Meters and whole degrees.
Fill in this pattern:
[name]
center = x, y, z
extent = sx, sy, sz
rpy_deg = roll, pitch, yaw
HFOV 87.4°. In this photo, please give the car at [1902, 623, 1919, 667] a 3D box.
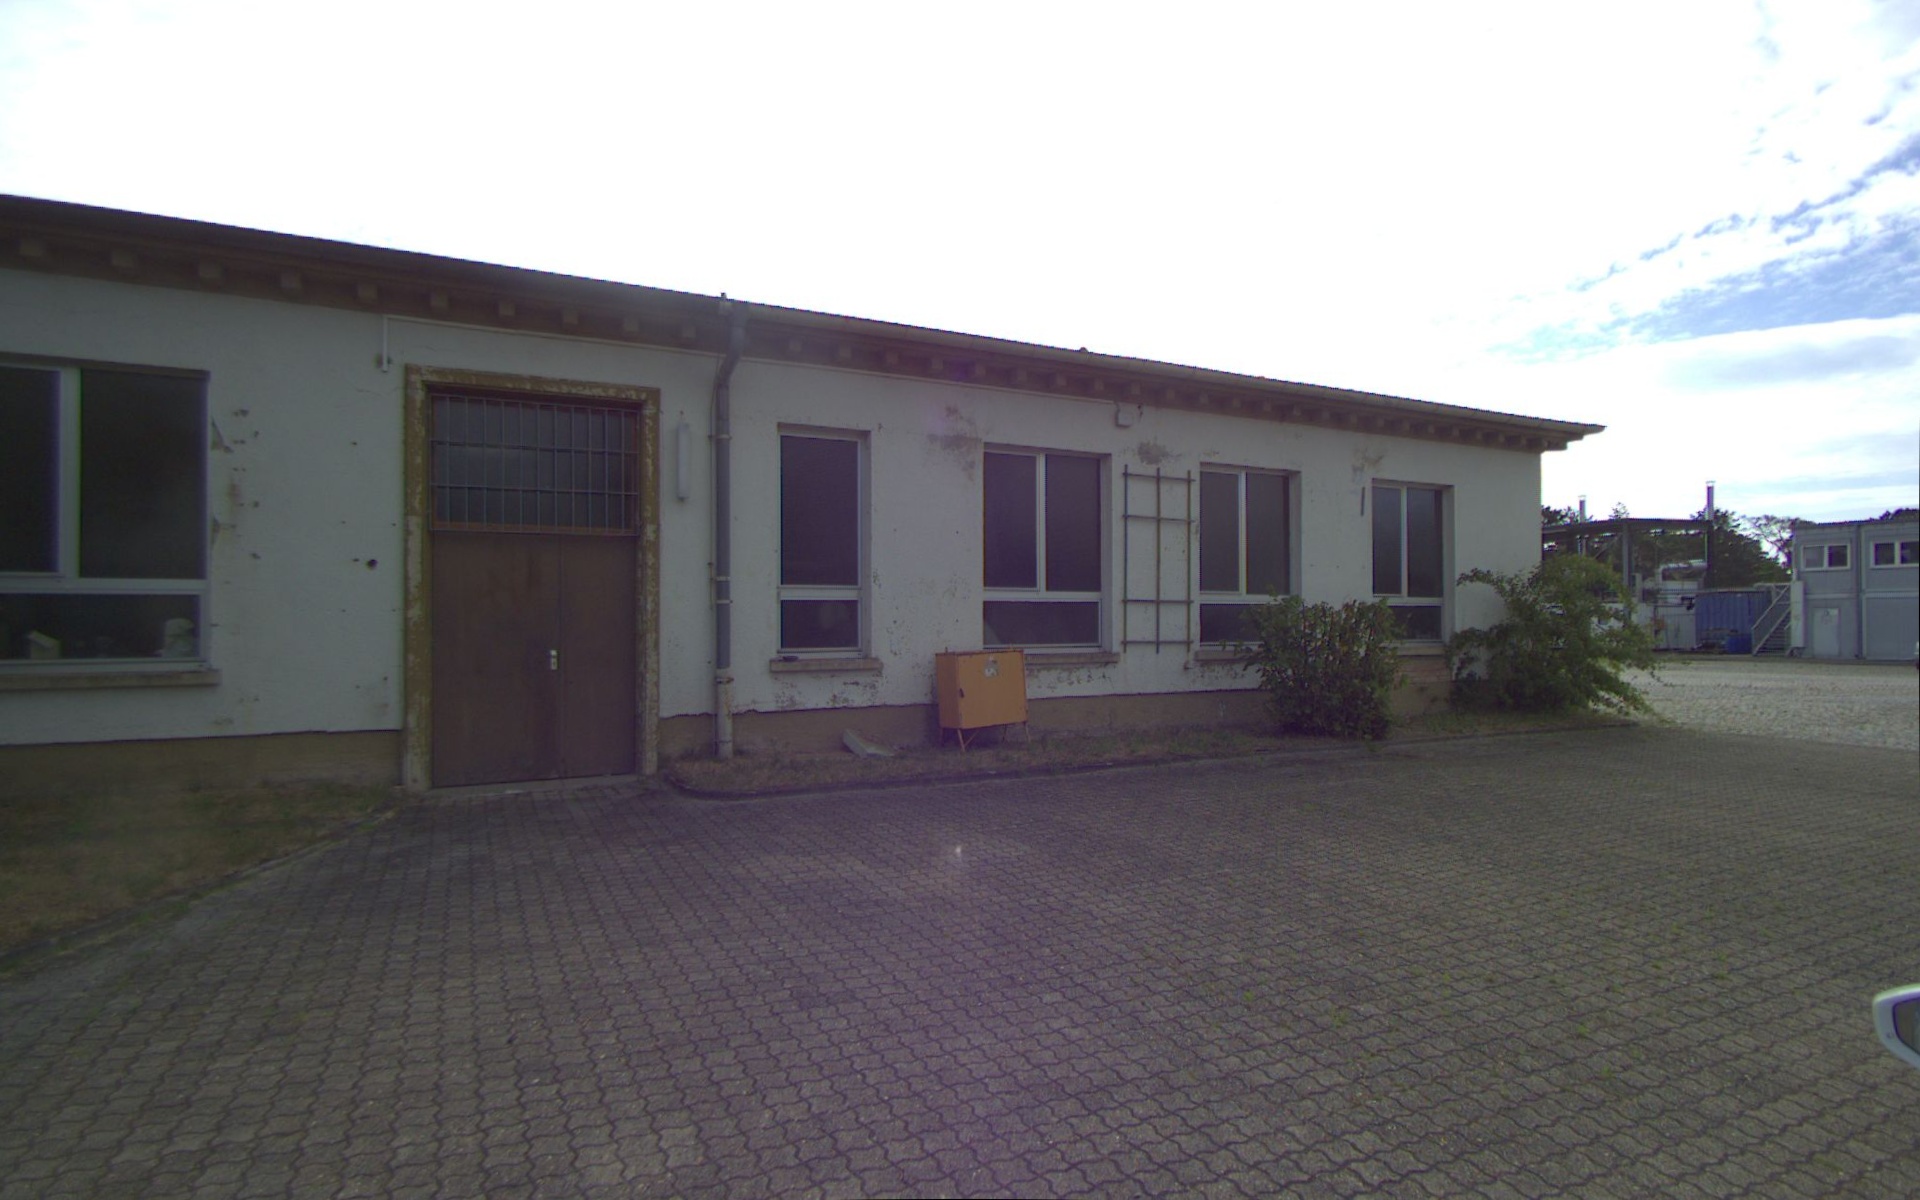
[car]
center = 35.598, 1.557, 35.747
extent = 3.997, 1.495, 1.899
rpy_deg = -1, -1, -29
